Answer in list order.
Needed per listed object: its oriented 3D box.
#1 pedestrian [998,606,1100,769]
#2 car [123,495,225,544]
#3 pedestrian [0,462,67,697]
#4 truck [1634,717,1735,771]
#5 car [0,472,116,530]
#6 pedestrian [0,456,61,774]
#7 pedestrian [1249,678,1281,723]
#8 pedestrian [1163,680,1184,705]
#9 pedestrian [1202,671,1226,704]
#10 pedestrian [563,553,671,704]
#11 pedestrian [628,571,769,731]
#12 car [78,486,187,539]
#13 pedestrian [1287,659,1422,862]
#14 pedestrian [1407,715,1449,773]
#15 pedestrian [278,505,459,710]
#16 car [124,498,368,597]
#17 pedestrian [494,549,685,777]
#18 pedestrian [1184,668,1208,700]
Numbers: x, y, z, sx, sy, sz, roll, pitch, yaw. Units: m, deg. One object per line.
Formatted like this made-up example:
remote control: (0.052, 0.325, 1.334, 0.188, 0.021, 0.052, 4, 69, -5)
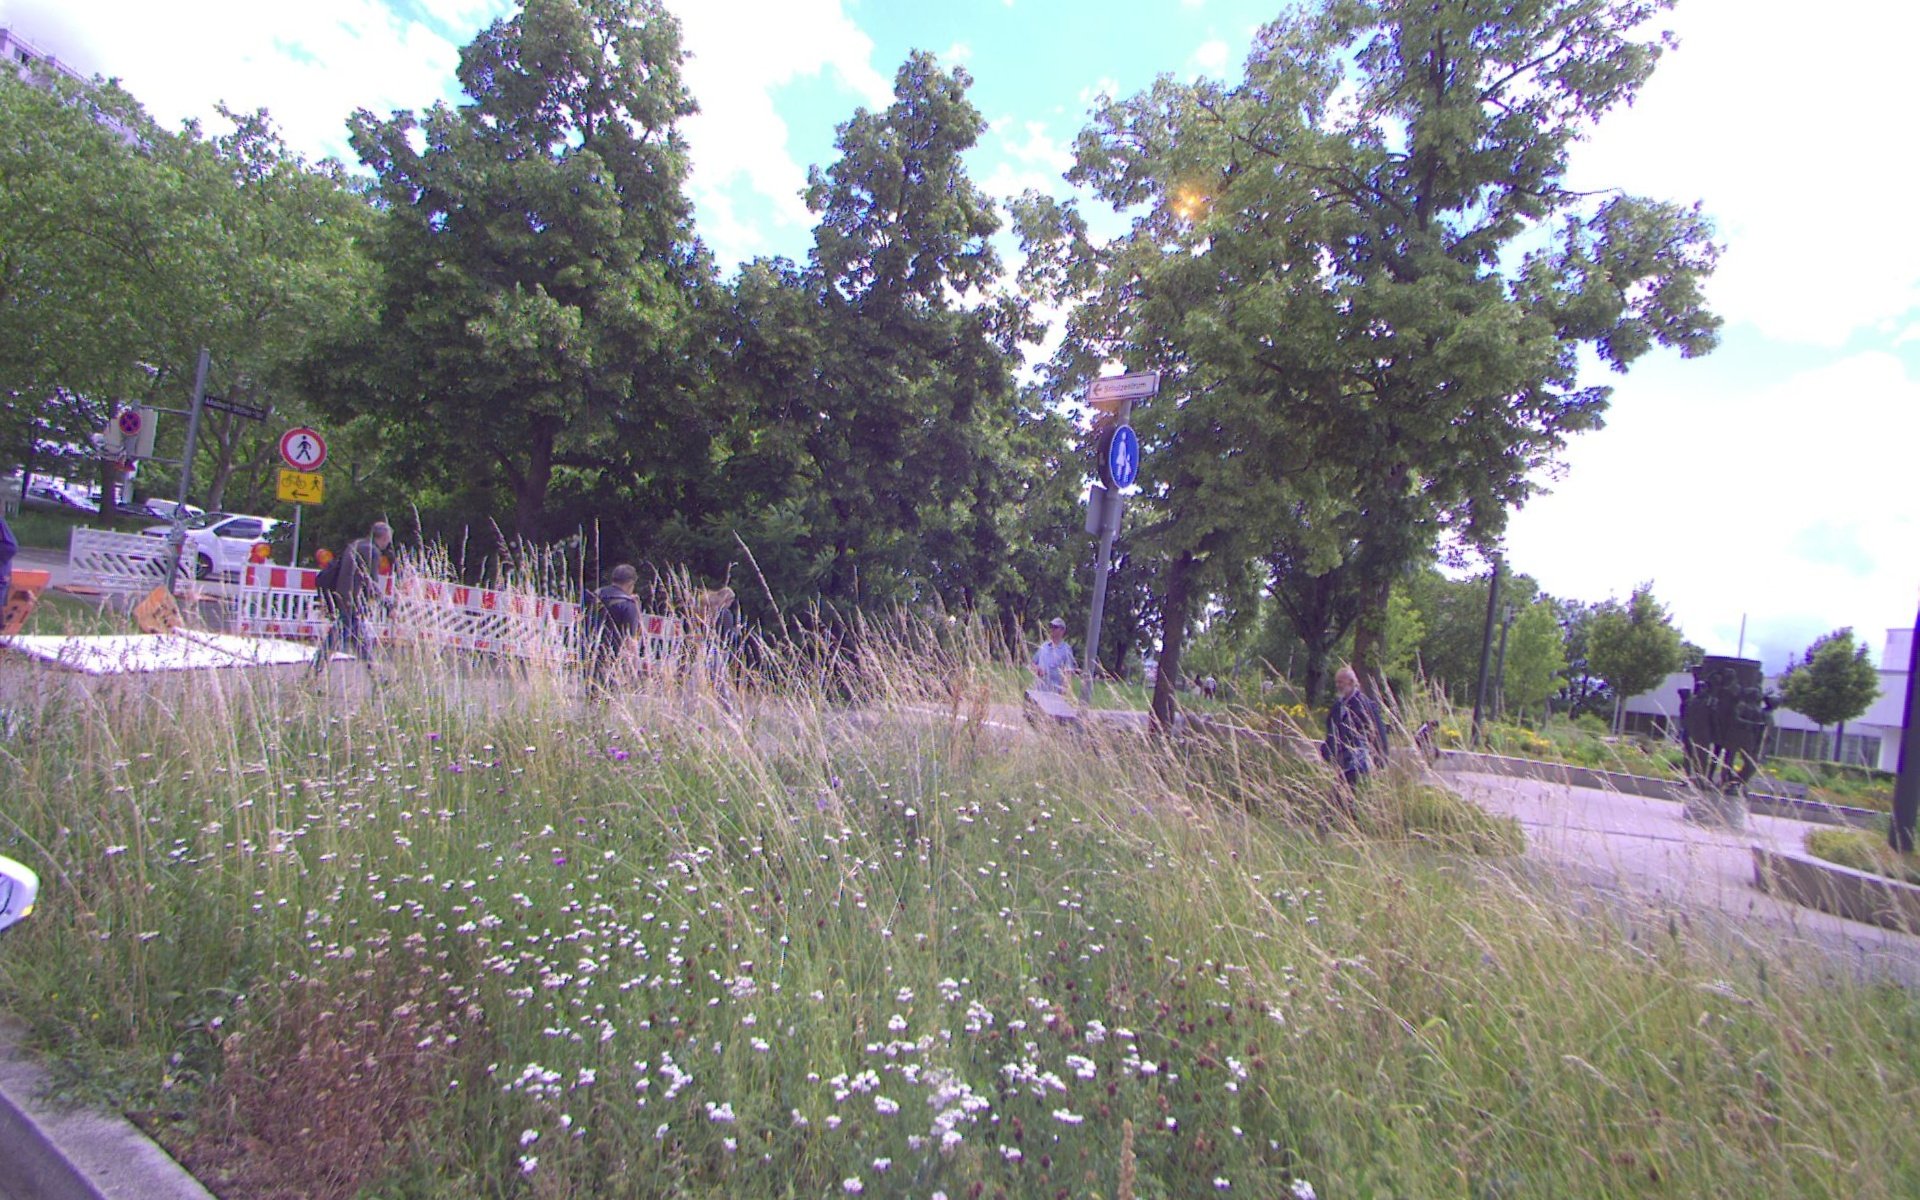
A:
pedestrian: (1.102, 1.073, 12.400, 0.760, 1.862, 0.763, 7, -1, 35)
car: (-44.245, -4.524, 56.690, 3.926, 2.037, 2.001, 8, -1, 0)
pedestrian: (-7.156, -0.202, 7.143, 0.915, 1.626, 0.913, 7, -1, 37)
truck: (37.318, 7.398, 51.954, 1.965, 2.037, 3.999, 8, -1, -4)
car: (-43.693, -4.773, 48.571, 3.926, 2.037, 2.001, 8, -1, 0)
pedestrian: (-5.200, 0.018, 4.925, 0.734, 1.573, 0.882, 7, -1, 32)
pedestrian: (15.017, 4.958, 49.521, 1.137, 2.037, 0.817, 8, 0, 30)
pedestrian: (15.295, 6.608, 71.973, 1.135, 1.571, 0.818, 8, -1, -2)
pedestrian: (14.228, 4.910, 56.377, 0.879, 1.732, 0.817, 8, -1, 30)
pedestrian: (-4.323, 0.360, 12.684, 0.816, 1.763, 0.781, 7, -1, 40)
pedestrian: (-2.981, 0.592, 11.492, 0.915, 1.667, 1.021, 7, -1, 37)
car: (-43.789, -4.597, 53.287, 3.926, 2.037, 2.001, 8, -1, 0)
pedestrian: (3.534, 1.409, 9.088, 0.750, 1.644, 0.773, 8, -1, 5)
pedestrian: (10.783, 3.311, 23.175, 0.623, 1.236, 0.618, 7, -1, 36)
pedestrian: (-5.680, 0.093, 9.689, 0.914, 1.794, 1.004, 7, -1, 32)
car: (-19.708, -1.382, 28.061, 1.915, 1.895, 5.090, 7, -2, 28)
pedestrian: (-3.030, 0.511, 8.286, 0.865, 1.667, 0.961, 7, -1, 27)
pedestrian: (13.254, 4.736, 56.511, 0.872, 1.681, 0.817, 8, -1, 30)
